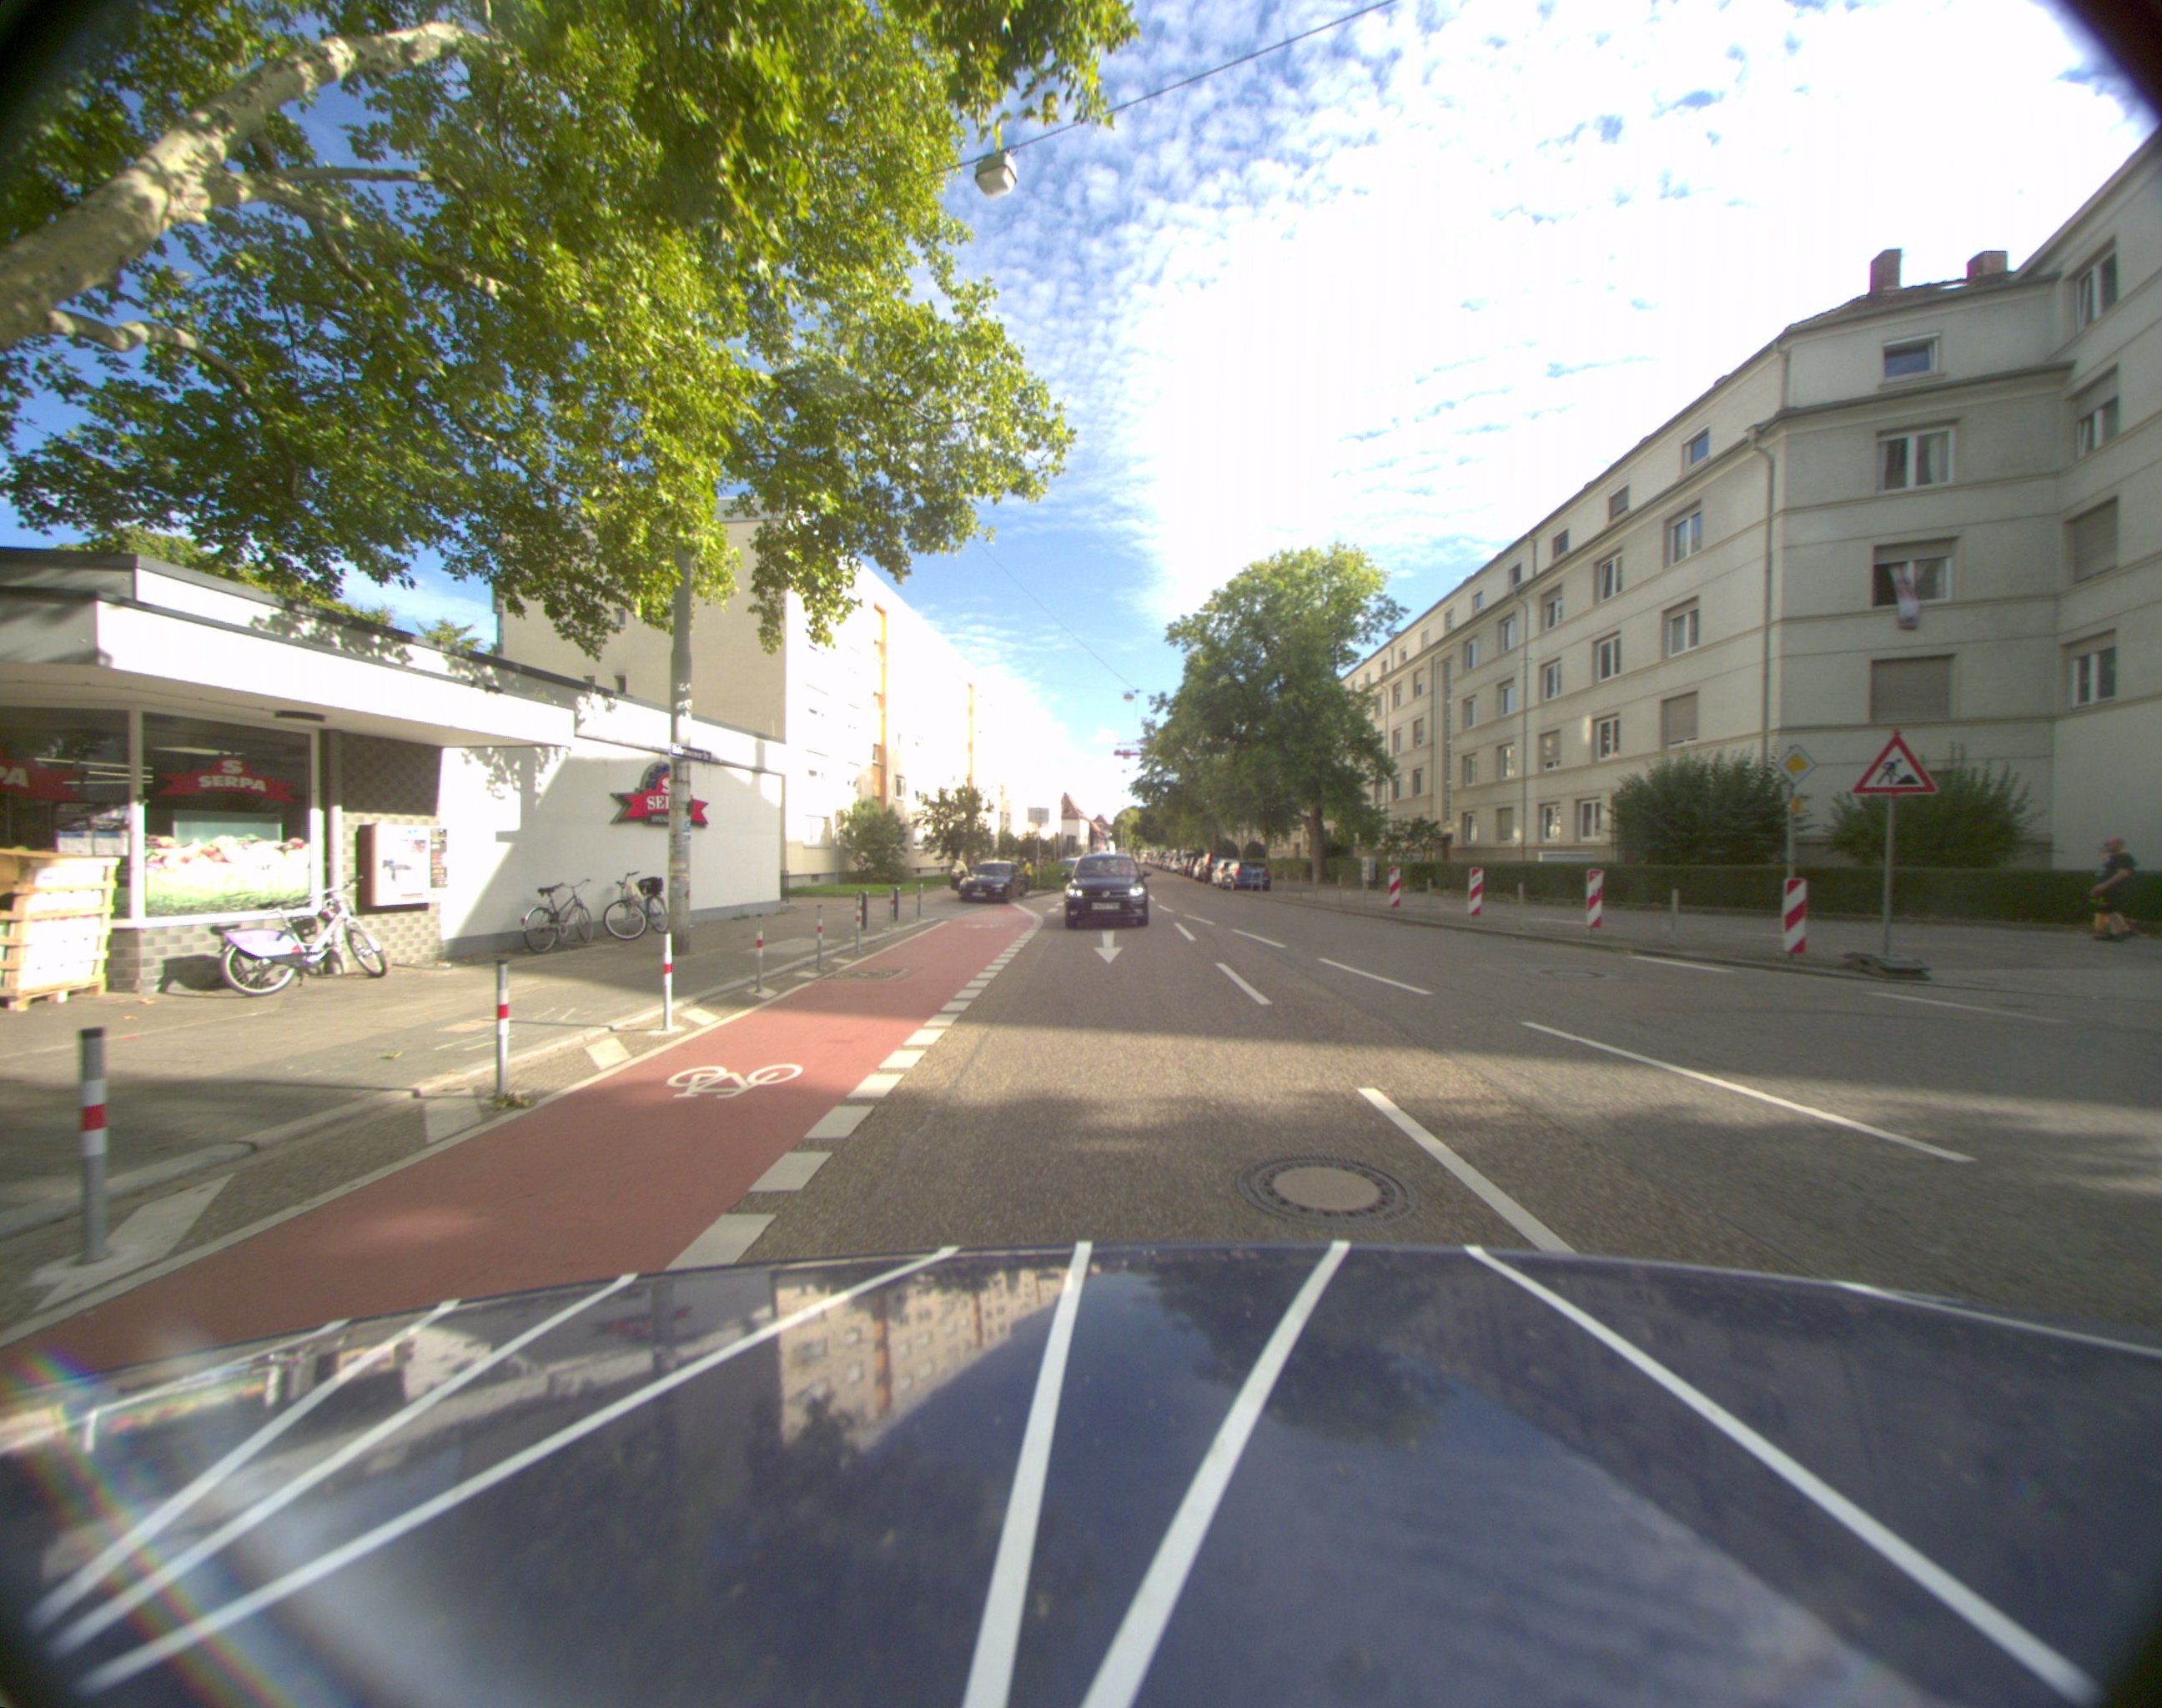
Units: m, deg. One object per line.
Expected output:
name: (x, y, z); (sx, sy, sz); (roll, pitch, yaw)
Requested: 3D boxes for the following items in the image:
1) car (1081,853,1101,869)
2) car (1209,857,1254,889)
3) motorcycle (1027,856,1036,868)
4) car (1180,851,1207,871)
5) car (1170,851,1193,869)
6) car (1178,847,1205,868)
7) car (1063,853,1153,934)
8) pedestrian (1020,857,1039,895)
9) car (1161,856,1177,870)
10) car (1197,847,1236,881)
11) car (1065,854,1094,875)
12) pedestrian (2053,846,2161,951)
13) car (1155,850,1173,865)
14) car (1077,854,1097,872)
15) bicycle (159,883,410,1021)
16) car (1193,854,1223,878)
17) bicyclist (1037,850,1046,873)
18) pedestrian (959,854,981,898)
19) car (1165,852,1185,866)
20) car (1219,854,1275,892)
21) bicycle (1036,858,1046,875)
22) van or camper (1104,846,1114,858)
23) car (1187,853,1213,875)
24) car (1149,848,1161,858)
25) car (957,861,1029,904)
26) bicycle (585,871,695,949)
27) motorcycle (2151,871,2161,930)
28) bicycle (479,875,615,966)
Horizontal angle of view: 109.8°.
car: (1.038, 0.692, 75.402); (1.732, 1.479, 4.643); (0, 0, 4)
car: (7.859, 0.954, 39.982); (1.803, 1.485, 3.804); (2, 0, 4)
motorcycle: (-4.794, 0.766, 74.130); (0.632, 1.038, 2.394); (2, 0, 2)
car: (8.699, 0.514, 59.026); (1.704, 1.478, 3.849); (2, 0, 4)
car: (9.627, 0.559, 73.132); (1.743, 1.611, 3.995); (0, 0, 2)
car: (9.291, 0.272, 64.195); (1.803, 1.658, 4.483); (2, 0, 4)
car: (0.585, 0.831, 17.930); (1.859, 1.673, 4.000); (-1, 0, 0)
pedestrian: (-2.110, 0.886, 31.211); (0.654, 1.530, 0.743); (1, 1, 3)
car: (10.223, 0.994, 88.661); (1.688, 1.472, 4.453); (3, 1, 6)
car: (8.064, 0.573, 45.442); (1.727, 1.871, 4.192); (2, 0, 3)
car: (-0.039, 0.742, 55.992); (1.693, 1.519, 4.239); (-1, 0, 6)
pedestrian: (15.934, 0.670, 11.791); (0.734, 1.569, 0.732); (0, 1, -1)
car: (10.838, 0.405, 99.376); (1.881, 1.782, 4.971); (2, 0, 2)
car: (0.590, 0.805, 69.534); (1.733, 1.571, 4.117); (0, 0, 1)
bicycle: (-8.504, 0.981, 8.252); (0.713, 1.199, 1.816); (3, 1, 4)
car: (8.412, 0.743, 50.590); (1.698, 1.484, 4.334); (2, 0, 6)
bicyclist: (-2.848, 0.532, 54.859); (0.625, 1.668, 0.893); (0, 1, 2)
pedestrian: (-4.219, 0.832, 28.913); (0.654, 1.636, 0.743); (-1, 1, 3)
car: (9.589, 0.495, 77.694); (1.618, 1.460, 4.014); (1, 0, 3)
car: (7.621, 0.839, 35.264); (1.803, 1.611, 3.803); (2, 0, 1)
bicycle: (-2.851, 0.896, 54.743); (0.525, 1.128, 1.929); (0, 1, 2)
van or camper: (6.043, -0.437, 163.744); (2.164, 2.512, 5.914); (2, 0, 3)
car: (8.587, 0.708, 54.976); (1.556, 1.511, 3.017); (2, 0, 4)
car: (12.649, -0.176, 129.852); (1.859, 1.477, 4.799); (4, 0, 3)
car: (-3.209, 1.011, 28.508); (1.764, 1.403, 4.235); (1, 1, 6)
bicycle: (-7.961, 0.972, 13.829); (0.770, 1.199, 1.816); (3, 1, 6)
motorcycle: (21.485, 0.929, 14.359); (0.545, 1.156, 1.879); (0, 0, 23)
bicycle: (-8.223, 0.979, 11.812); (0.712, 1.199, 1.771); (3, 1, 6)
